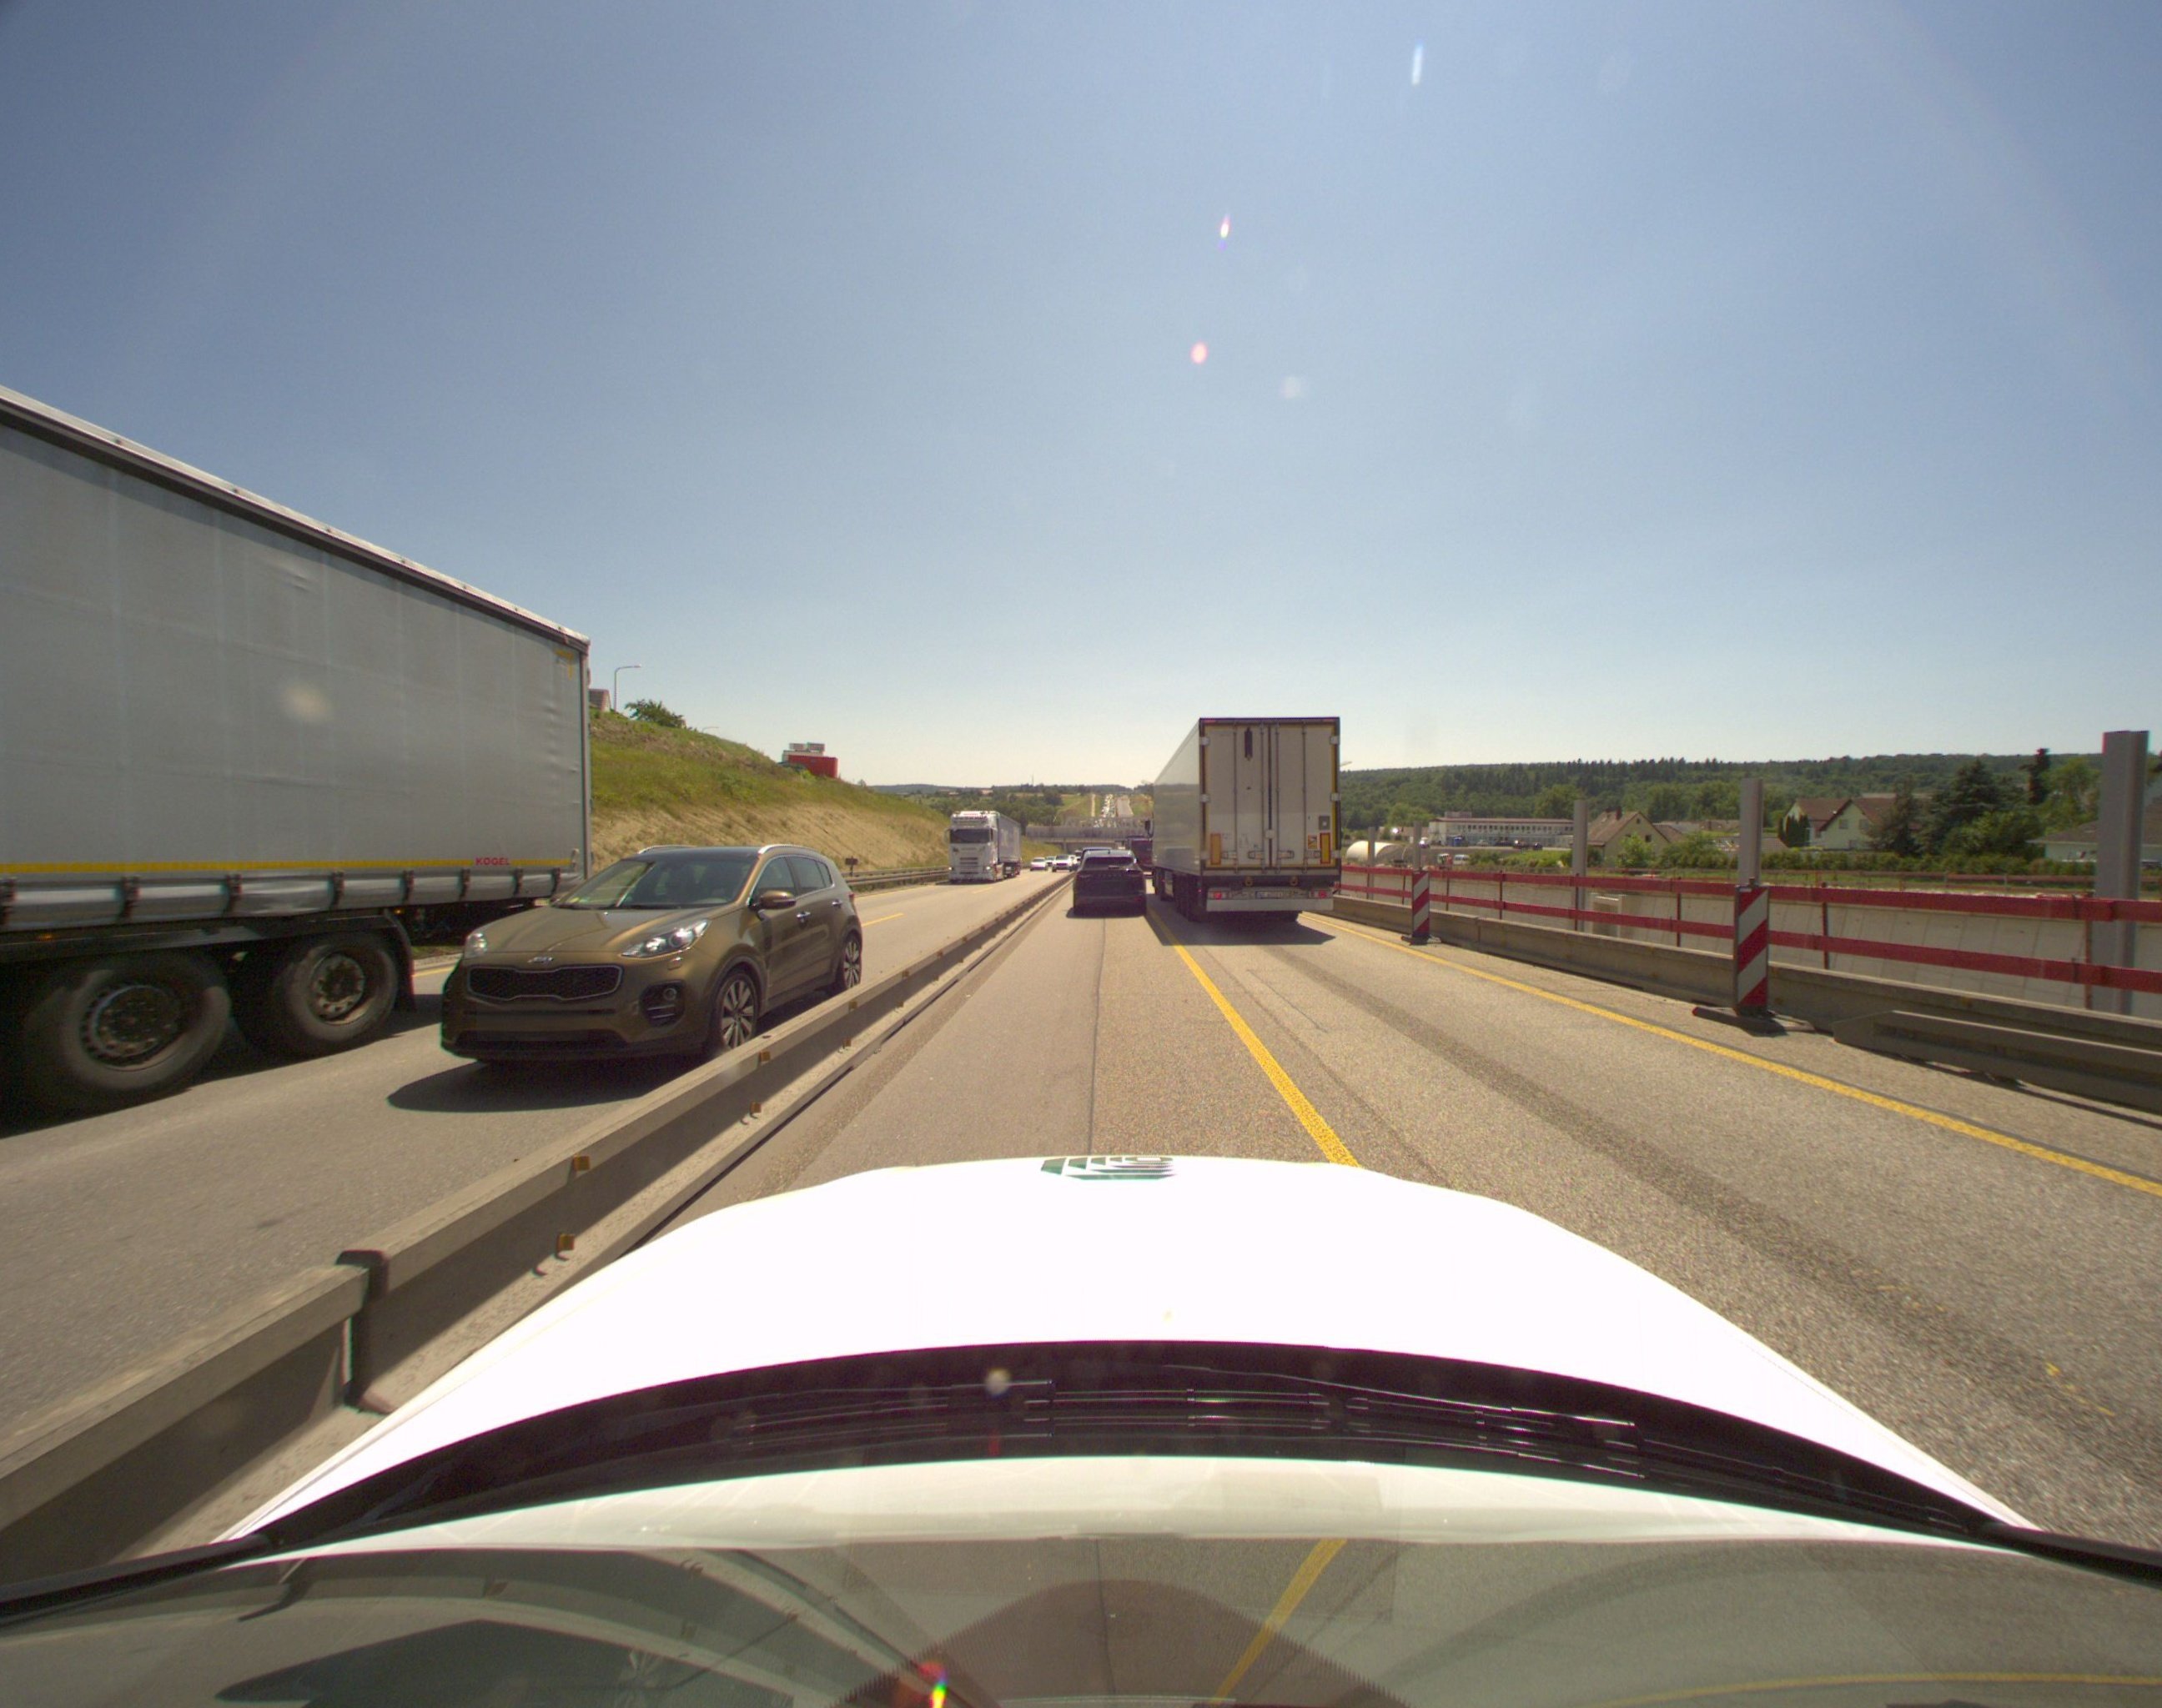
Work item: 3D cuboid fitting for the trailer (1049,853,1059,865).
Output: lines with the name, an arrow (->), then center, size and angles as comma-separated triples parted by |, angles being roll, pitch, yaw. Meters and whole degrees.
trailer -> -4.803, 0.861, 143.511 | 1.642, 2.025, 4.268 | -1, 0, -1

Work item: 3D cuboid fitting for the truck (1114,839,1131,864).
truck -> 6.718, -0.374, 132.242 | 2.509, 3.959, 7.601 | 1, 0, 1

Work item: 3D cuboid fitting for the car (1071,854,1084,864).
car -> -0.548, 0.686, 118.070 | 1.800, 1.477, 4.280 | -1, 0, 1

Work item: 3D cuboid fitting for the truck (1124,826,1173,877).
truck -> 4.536, -0.127, 56.760 | 2.803, 3.135, 12.844 | -1, 0, 2

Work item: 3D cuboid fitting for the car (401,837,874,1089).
car -> -3.344, 0.683, 7.249 | 1.842, 1.586, 4.175 | 0, 0, 1

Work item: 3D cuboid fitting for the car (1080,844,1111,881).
car -> 0.784, 0.413, 41.807 | 1.469, 1.795, 3.300 | -2, 0, 3

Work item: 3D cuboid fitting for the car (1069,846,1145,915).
car -> 0.675, 0.609, 21.033 | 1.794, 1.620, 3.299 | -1, 0, 1

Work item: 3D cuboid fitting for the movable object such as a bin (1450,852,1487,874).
movable object such as a bin -> 39.897, 0.923, 83.972 | 1.986, 2.239, 4.154 | -1, 0, 2

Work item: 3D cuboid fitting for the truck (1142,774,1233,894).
truck -> 3.800, -0.659, 30.242 | 2.767, 4.058, 4.905 | -1, -1, 1

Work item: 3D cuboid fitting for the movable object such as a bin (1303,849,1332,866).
movable object such as a bin -> 42.286, 0.551, 145.811 | 2.876, 2.909, 9.484 | -1, 0, 2

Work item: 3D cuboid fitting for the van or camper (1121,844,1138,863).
van or camper -> 5.773, -0.057, 97.707 | 1.986, 2.244, 4.002 | 1, 0, 2

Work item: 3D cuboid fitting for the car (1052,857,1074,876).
car -> -1.690, 1.166, 76.945 | 1.805, 1.638, 4.365 | -1, 0, 2

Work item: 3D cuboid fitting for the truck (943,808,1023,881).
truck -> -6.139, -0.568, 53.860 | 3.231, 4.160, 13.981 | -1, 0, 1

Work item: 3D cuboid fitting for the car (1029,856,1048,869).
car -> -4.467, 0.898, 86.295 | 1.696, 1.378, 3.967 | -1, 0, 1

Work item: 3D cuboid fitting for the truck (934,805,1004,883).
truck -> -6.287, -0.546, 46.216 | 3.228, 4.160, 4.248 | -1, 0, 1

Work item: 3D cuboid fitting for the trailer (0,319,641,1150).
trailer -> -6.997, -0.610, 3.065 | 2.800, 4.286, 14.038 | 0, 0, 1

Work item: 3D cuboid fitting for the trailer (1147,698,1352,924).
trailer -> 3.632, -0.730, 21.866 | 2.791, 4.058, 14.118 | -1, 0, 1

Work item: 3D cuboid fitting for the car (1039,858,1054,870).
car -> -4.953, 1.384, 116.392 | 1.892, 1.584, 4.515 | -1, 0, 1

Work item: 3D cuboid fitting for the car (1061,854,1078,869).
car -> -1.323, 0.907, 96.342 | 1.884, 1.708, 4.562 | -1, 0, 1
